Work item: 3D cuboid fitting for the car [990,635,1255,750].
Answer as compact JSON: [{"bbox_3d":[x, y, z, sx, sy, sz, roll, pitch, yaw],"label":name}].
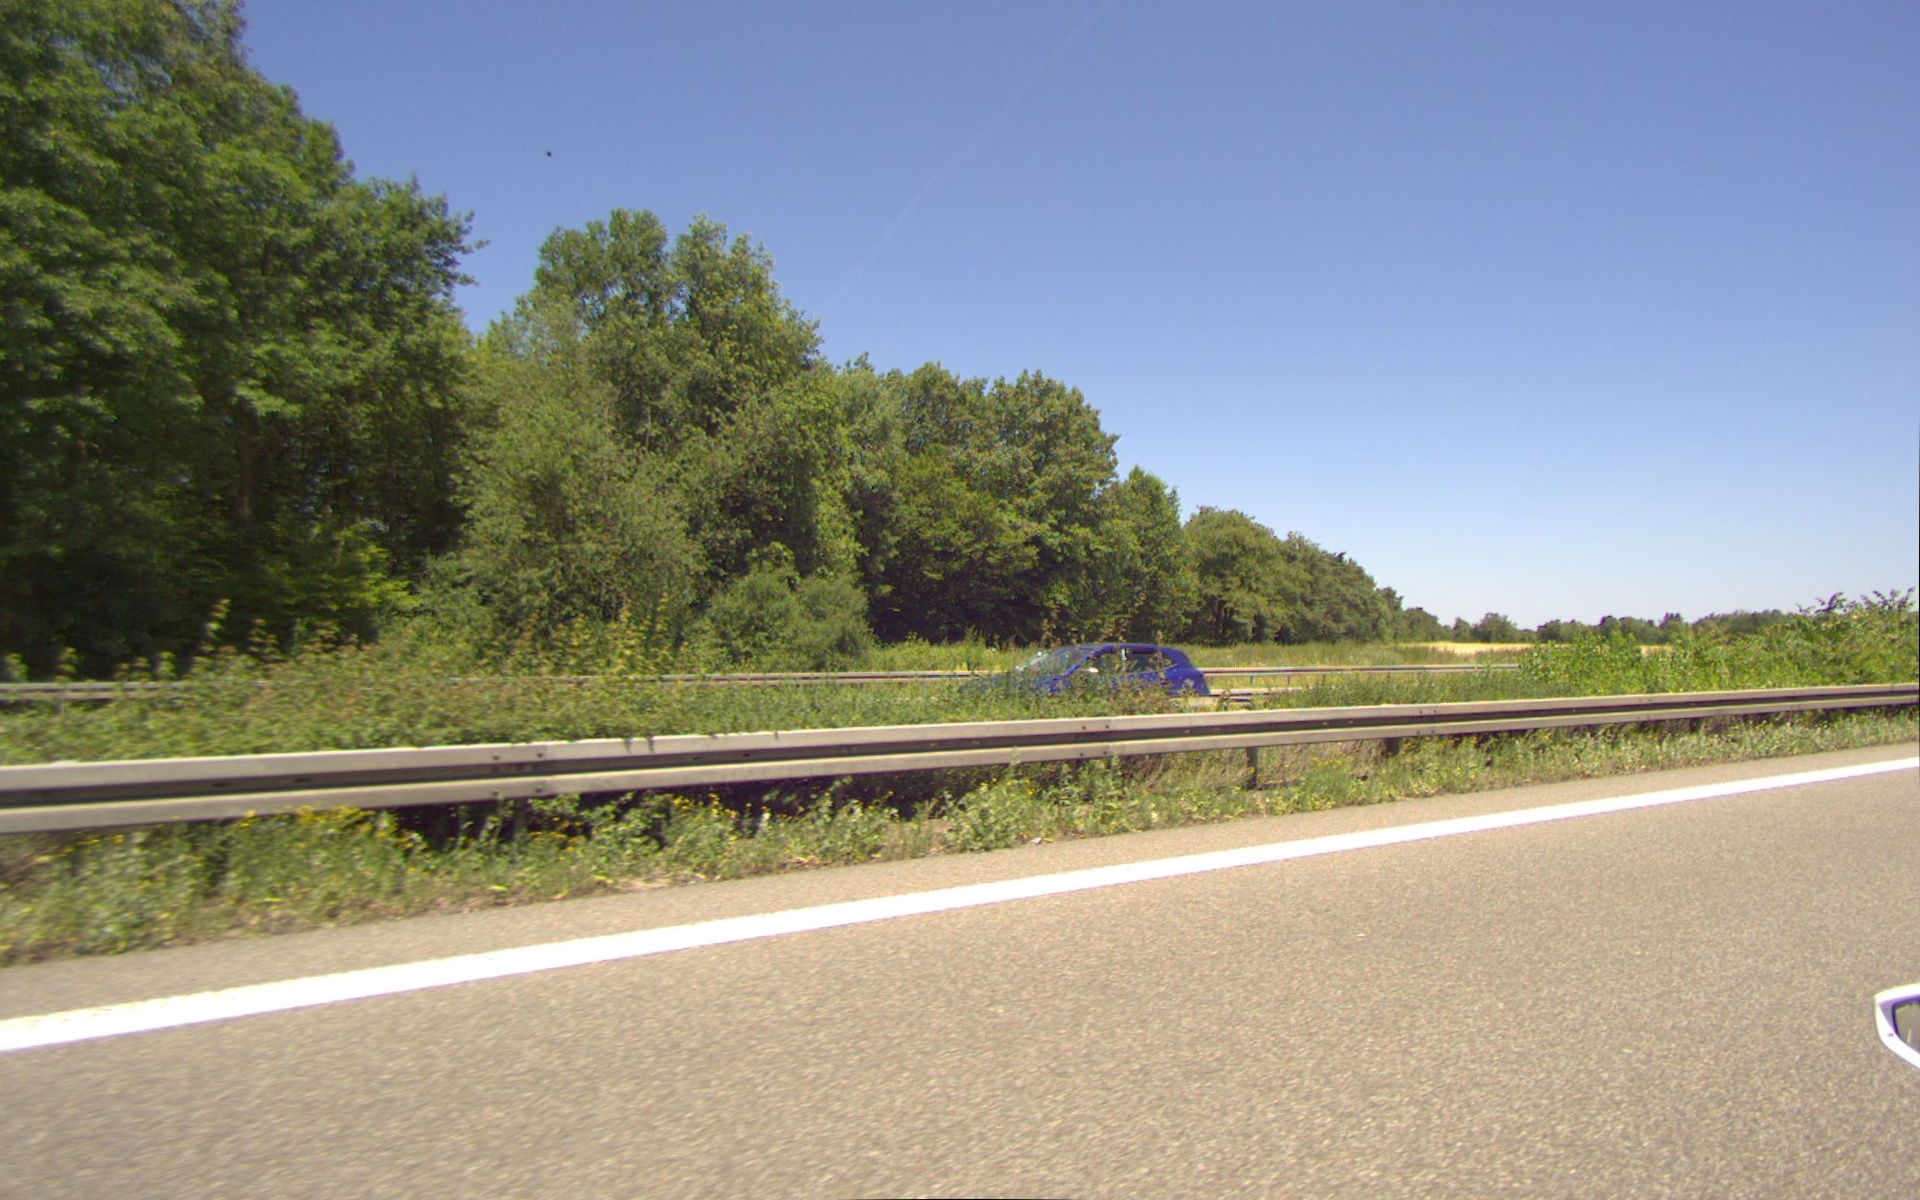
[{"bbox_3d":[2.588,1.369,15.756,3.953,1.583,1.707,2,-2,-30],"label":"car"}]
